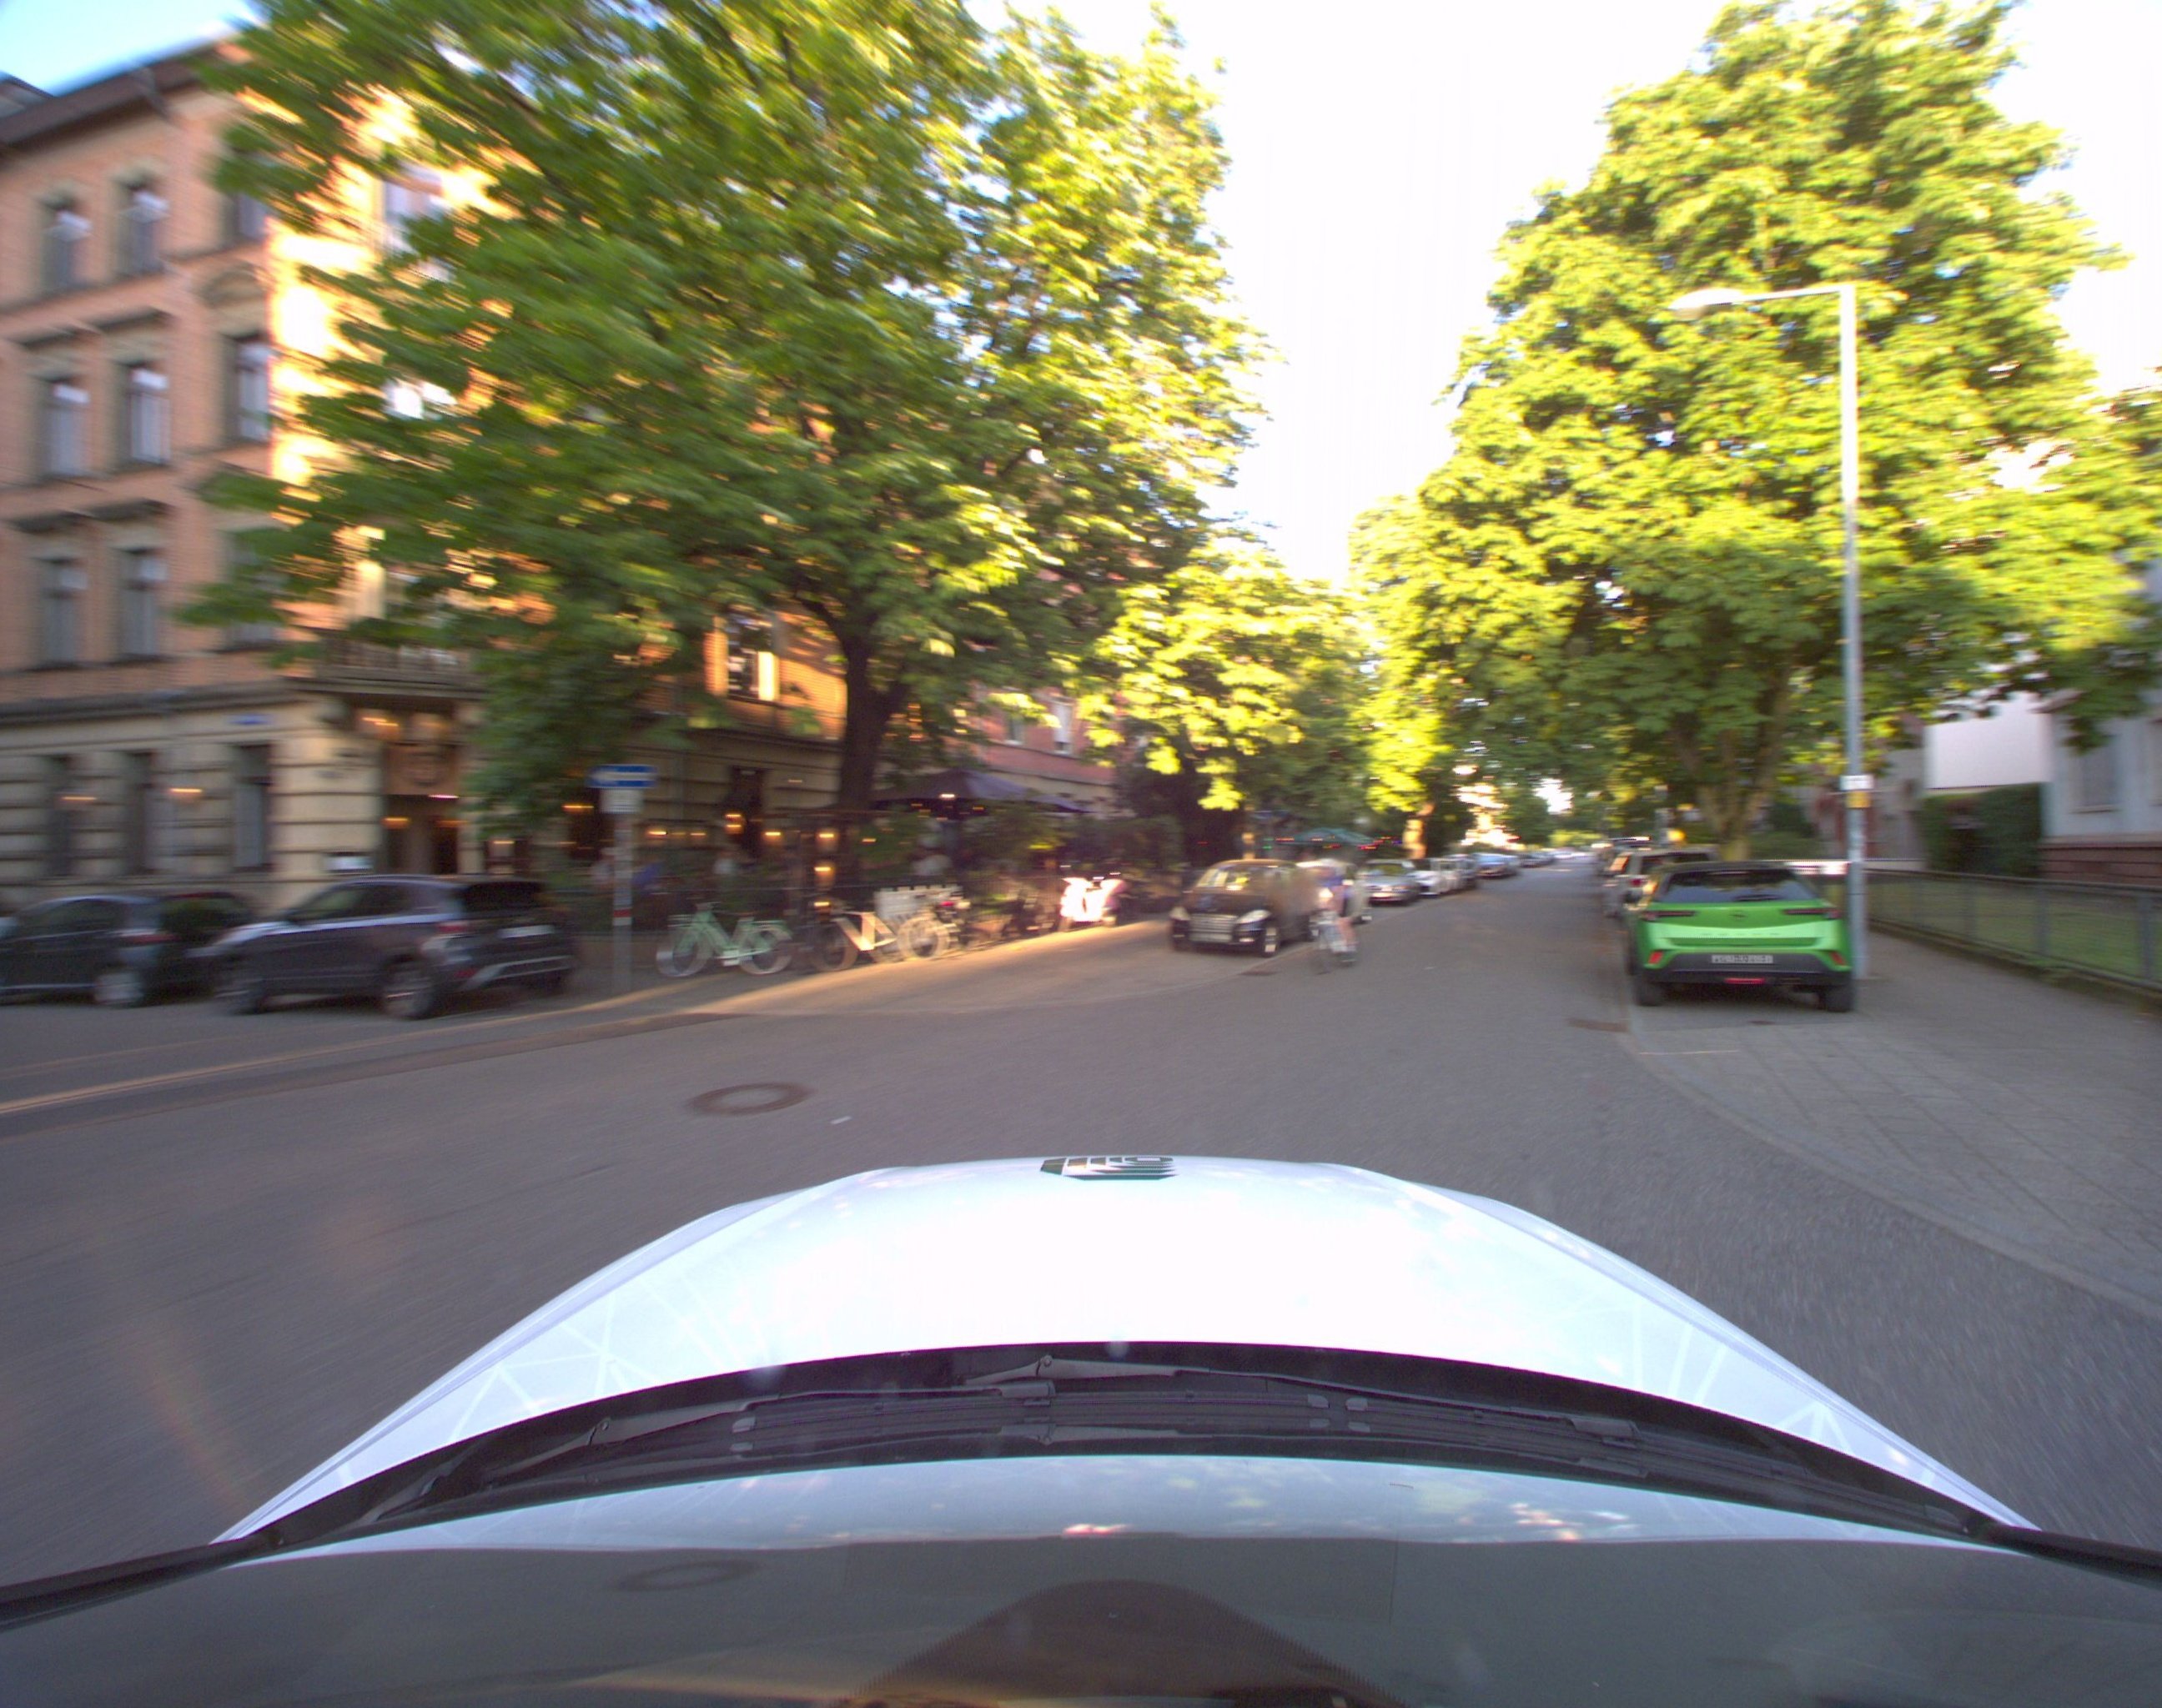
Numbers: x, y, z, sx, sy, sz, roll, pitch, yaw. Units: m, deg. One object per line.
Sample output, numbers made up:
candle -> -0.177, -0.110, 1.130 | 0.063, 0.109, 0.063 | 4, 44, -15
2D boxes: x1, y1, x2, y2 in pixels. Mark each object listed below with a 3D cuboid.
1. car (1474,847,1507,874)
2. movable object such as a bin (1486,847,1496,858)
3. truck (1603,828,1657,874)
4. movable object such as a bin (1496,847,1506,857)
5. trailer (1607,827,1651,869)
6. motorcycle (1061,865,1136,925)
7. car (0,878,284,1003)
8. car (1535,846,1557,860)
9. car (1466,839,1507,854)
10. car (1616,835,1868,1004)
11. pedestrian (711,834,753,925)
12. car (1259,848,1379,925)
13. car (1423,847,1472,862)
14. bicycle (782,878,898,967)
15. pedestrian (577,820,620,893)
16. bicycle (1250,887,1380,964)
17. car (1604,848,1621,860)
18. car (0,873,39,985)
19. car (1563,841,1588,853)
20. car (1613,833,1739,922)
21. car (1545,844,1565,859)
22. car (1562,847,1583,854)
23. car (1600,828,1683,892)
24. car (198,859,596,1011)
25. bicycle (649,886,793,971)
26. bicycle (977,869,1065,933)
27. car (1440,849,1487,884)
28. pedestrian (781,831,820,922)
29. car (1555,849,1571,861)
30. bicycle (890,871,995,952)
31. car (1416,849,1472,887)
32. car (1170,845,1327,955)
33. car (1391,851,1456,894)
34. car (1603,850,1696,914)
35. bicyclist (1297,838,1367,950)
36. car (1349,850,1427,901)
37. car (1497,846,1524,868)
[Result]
car -> 25.751, 0.363, 51.090 | 1.674, 1.563, 4.429 | 2, 2, 28
movable object such as a bin -> 54.440, -0.205, 108.198 | 1.087, 1.414, 1.010 | 1, 2, 19
truck -> 29.729, -0.184, 44.240 | 1.935, 2.246, 4.673 | -4, -1, 29
movable object such as a bin -> 55.559, -0.236, 107.671 | 1.003, 1.321, 1.011 | 2, 2, 38
trailer -> 32.778, -0.354, 48.788 | 1.935, 2.296, 4.674 | -4, -2, 32
motorcycle -> 0.402, 0.855, 17.522 | 0.387, 1.185, 1.968 | 1, 1, 42
car -> -12.951, 1.097, 11.041 | 3.300, 1.458, 1.472 | -1, 1, 13
car -> 48.327, -0.111, 84.573 | 1.601, 1.470, 3.986 | -1, 0, 35
car -> 47.082, -0.903, 94.617 | 4.054, 1.527, 1.720 | 3, 2, 32
car -> 7.502, 0.616, 9.652 | 1.714, 1.557, 3.987 | -4, -1, 31
pedestrian -> -5.716, 0.402, 13.355 | 0.426, 1.451, 0.464 | -2, 0, 2
car -> 5.521, 0.643, 18.596 | 1.648, 1.493, 3.734 | 2, 2, 32
car -> 36.168, 0.029, 80.464 | 4.054, 1.447, 1.720 | 0, 1, 42
bicycle -> -3.533, 0.973, 12.074 | 0.387, 1.144, 1.757 | 0, 1, 36
pedestrian -> -9.573, 0.041, 16.157 | 0.518, 1.412, 0.466 | -2, 0, 18
bicycle -> 3.432, 1.012, 11.911 | 1.909, 1.034, 0.534 | 0, -2, -24
car -> 67.735, -0.039, 103.869 | 1.670, 1.441, 4.236 | -3, -1, 32
car -> -17.254, 1.137, 11.751 | 3.299, 1.594, 1.473 | -2, 1, 14
car -> 101.467, -1.370, 167.141 | 4.308, 2.318, 1.756 | -1, 0, 31
car -> 12.936, 0.459, 17.950 | 1.648, 1.678, 4.145 | -4, -1, 29
car -> 57.329, -0.299, 98.459 | 1.903, 1.717, 4.456 | -1, 0, 33
car -> 99.579, -0.729, 165.149 | 3.584, 1.461, 1.616 | -1, 0, 29
car -> 20.379, 0.181, 29.825 | 1.935, 2.059, 4.860 | -4, -1, 29
car -> -8.098, 0.911, 9.745 | 3.818, 1.545, 1.639 | -2, 1, 14
bicycle -> -5.141, 1.056, 11.685 | 1.820, 1.098, 0.392 | -2, 0, -6
bicycle -> -1.135, 0.876, 15.892 | 0.387, 1.144, 1.968 | 2, 1, 42
car -> 17.846, 0.552, 37.892 | 1.536, 1.485, 3.717 | -2, 0, 31
pedestrian -> -4.605, 0.359, 13.383 | 0.426, 1.451, 0.464 | -2, 0, 2
car -> 65.252, 0.075, 110.326 | 1.699, 1.566, 3.812 | -1, 0, 33
bicycle -> -2.258, 0.909, 13.504 | 0.387, 1.185, 1.969 | 2, 2, 36
car -> 15.722, 0.567, 35.158 | 1.536, 1.485, 3.717 | 2, 2, 34
car -> 3.178, 0.696, 14.895 | 1.648, 1.677, 3.871 | 2, 2, 30
car -> 13.132, 0.651, 31.081 | 1.588, 1.435, 3.910 | 2, 2, 33
car -> 15.525, 0.719, 22.403 | 1.648, 1.500, 3.717 | -4, -1, 29
bicyclist -> 3.713, 0.575, 12.057 | 0.823, 1.577, 0.506 | -2, 0, -21
car -> 10.068, 0.632, 26.491 | 1.823, 1.411, 4.628 | 2, 2, 27
car -> 30.773, 0.181, 58.315 | 1.537, 1.481, 3.717 | 2, 2, 29
